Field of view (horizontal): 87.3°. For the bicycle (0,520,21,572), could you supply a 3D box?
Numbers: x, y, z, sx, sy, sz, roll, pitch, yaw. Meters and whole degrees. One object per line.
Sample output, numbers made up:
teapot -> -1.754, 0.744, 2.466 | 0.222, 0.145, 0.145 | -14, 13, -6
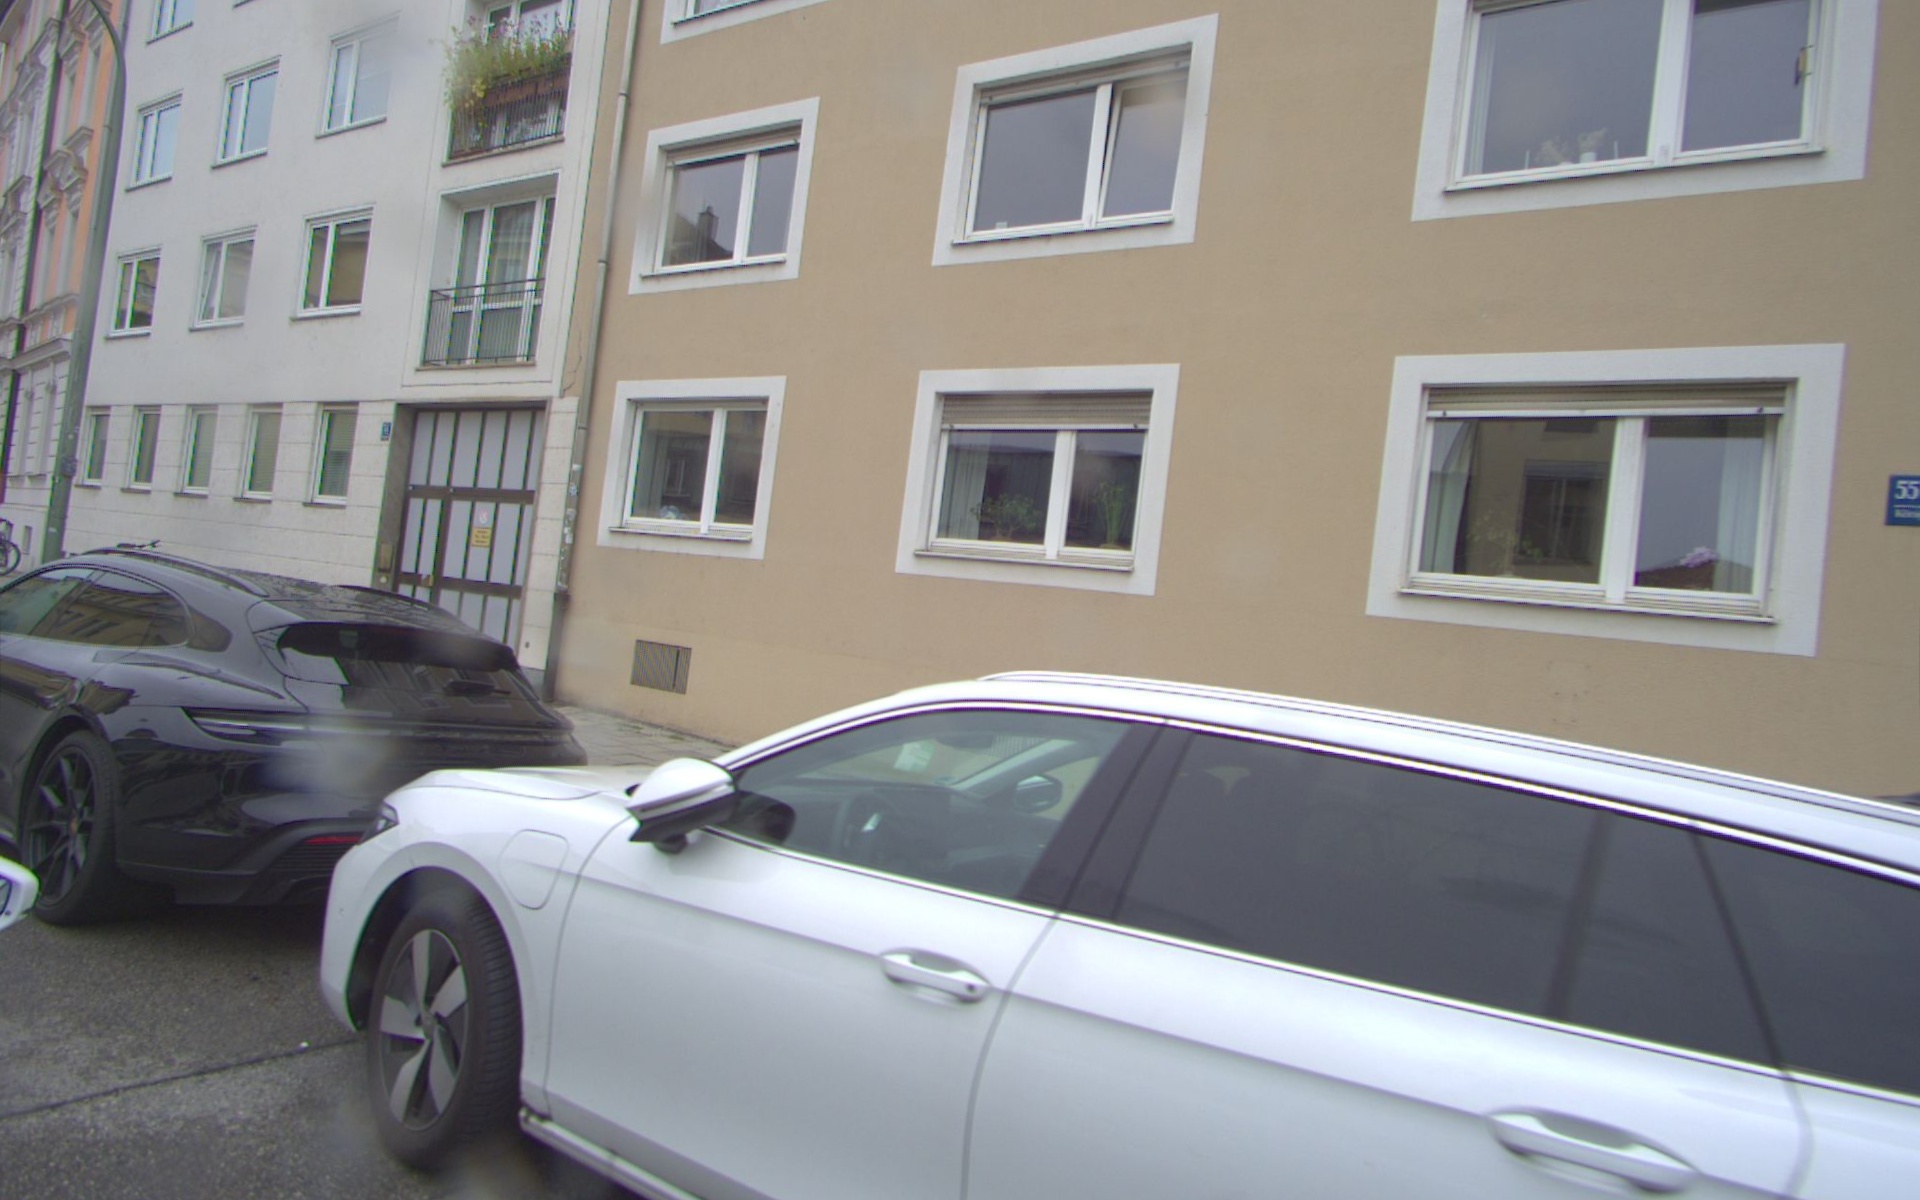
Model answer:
bicycle -> -20.930, -1.223, 21.646 | 1.788, 1.036, 0.596 | 6, -1, 34

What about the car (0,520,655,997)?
car -> -4.188, 0.421, 5.288 | 5.028, 1.430, 1.959 | 6, -3, 31

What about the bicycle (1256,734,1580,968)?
bicycle -> 2.902, 1.523, 6.452 | 1.724, 1.045, 0.677 | 6, -1, 32

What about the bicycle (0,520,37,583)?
bicycle -> -18.638, -1.000, 19.286 | 1.961, 1.125, 0.724 | 6, -1, 30

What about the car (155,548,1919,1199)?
car -> 0.318, 0.886, 2.513 | 4.929, 1.430, 1.859 | 6, -2, 30

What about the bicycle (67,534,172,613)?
bicycle -> -13.958, -0.448, 16.692 | 1.965, 1.084, 0.530 | 6, -1, 27
